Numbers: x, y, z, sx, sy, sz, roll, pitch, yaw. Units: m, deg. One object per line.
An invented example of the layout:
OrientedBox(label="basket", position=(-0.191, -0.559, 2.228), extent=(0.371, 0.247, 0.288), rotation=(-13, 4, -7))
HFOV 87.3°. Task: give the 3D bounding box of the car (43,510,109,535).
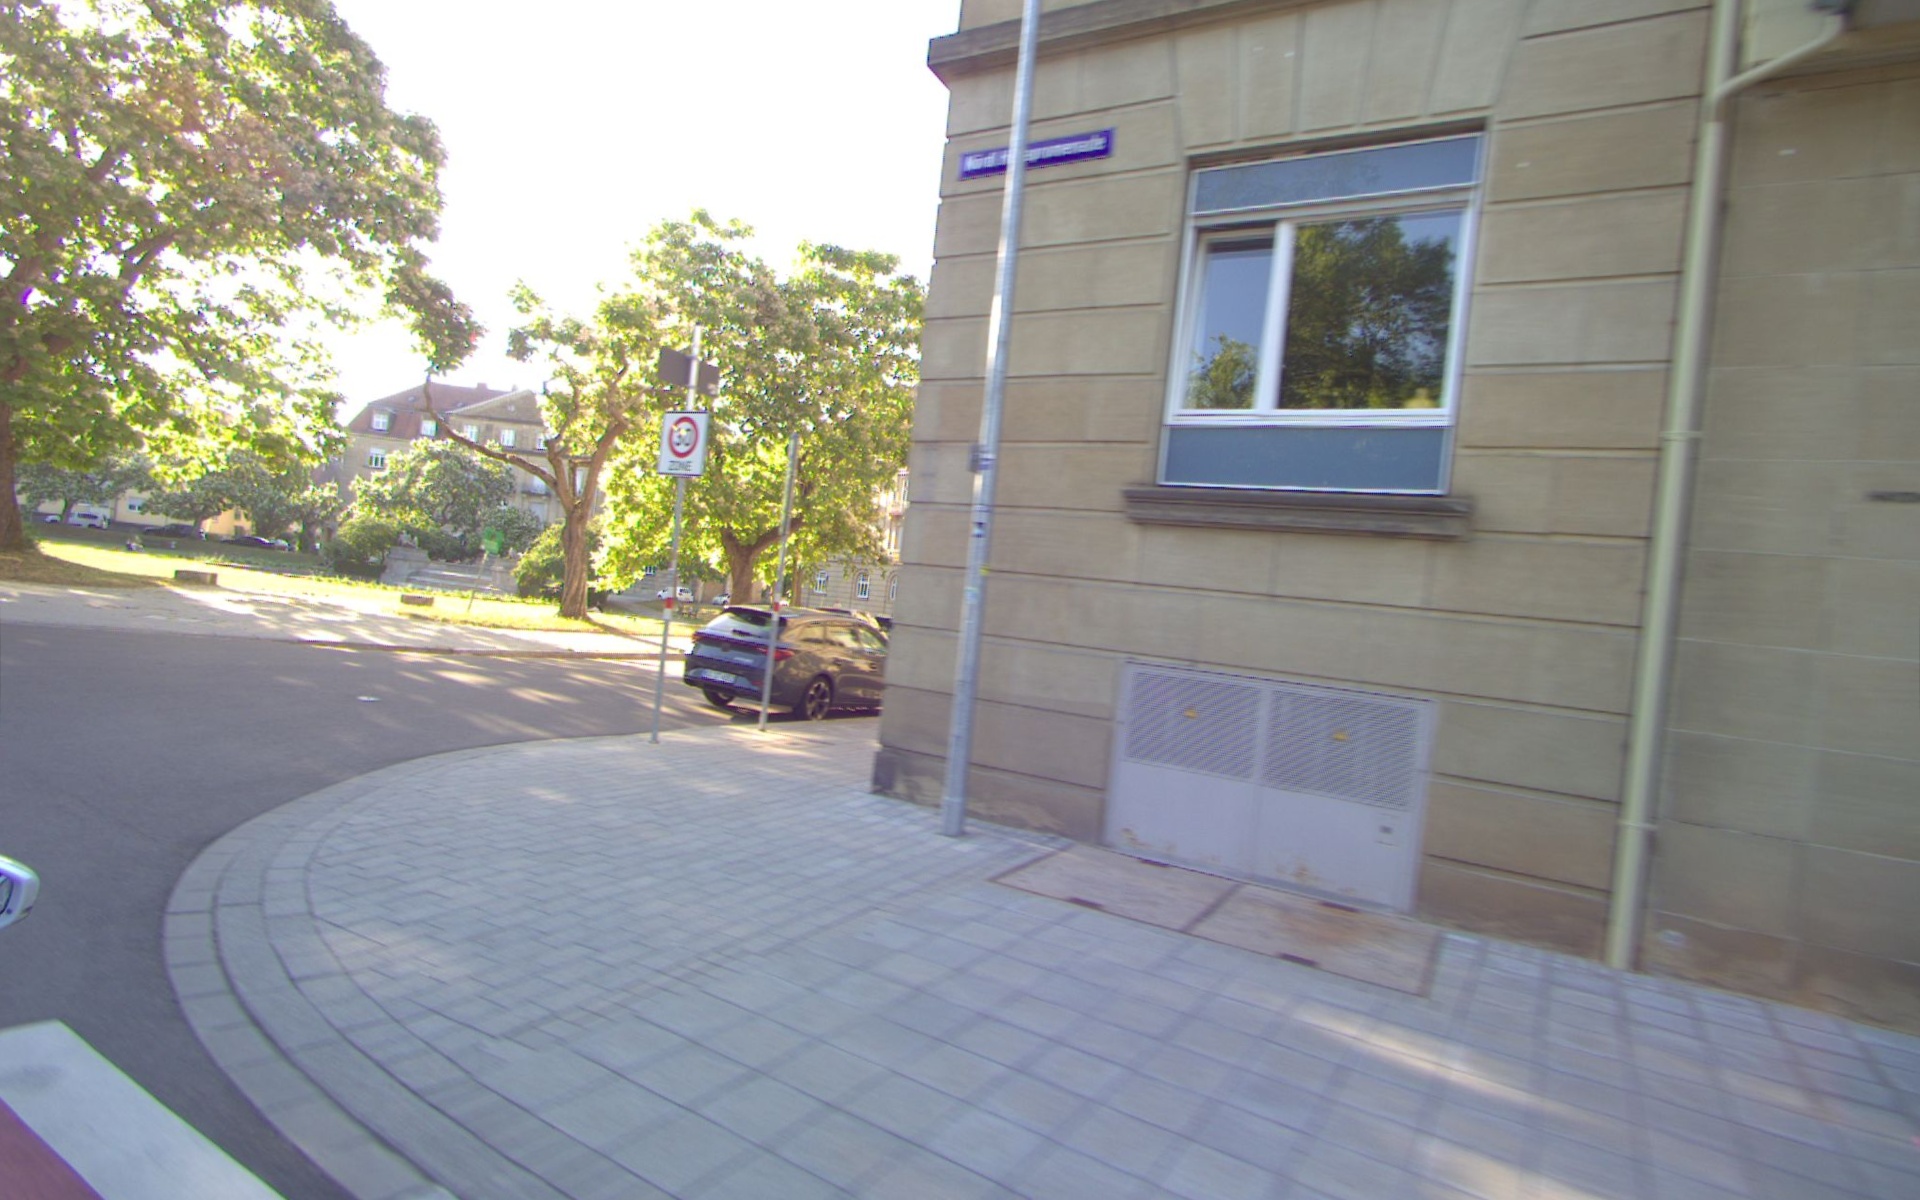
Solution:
OrientedBox(label="car", position=(-88.351, -7.719, 100.602), extent=(4.468, 1.767, 1.870), rotation=(6, -1, -25))

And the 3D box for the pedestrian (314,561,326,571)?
OrientedBox(label="pedestrian", position=(-58.044, -3.123, 91.256), extent=(0.655, 0.804, 0.587), rotation=(6, 0, 19))

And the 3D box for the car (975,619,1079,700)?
OrientedBox(label="car", position=(1.754, 1.433, 24.851), extent=(1.768, 1.619, 4.457), rotation=(6, -1, 13))

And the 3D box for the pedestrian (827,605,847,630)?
OrientedBox(label="pedestrian", position=(-7.880, 1.098, 64.464), extent=(0.935, 1.493, 0.681), rotation=(6, 0, 33))

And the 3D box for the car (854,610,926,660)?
OrientedBox(label="car", position=(-2.333, 1.204, 34.515), extent=(1.537, 1.434, 4.442), rotation=(6, -1, 7))

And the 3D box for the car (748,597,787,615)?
OrientedBox(label="car", position=(-21.340, 0.691, 111.618), extent=(1.789, 1.643, 4.218), rotation=(5, -1, 31))

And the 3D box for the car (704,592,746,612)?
OrientedBox(label="car", position=(-24.815, 0.205, 106.200), extent=(1.789, 1.643, 4.218), rotation=(5, -1, 31))

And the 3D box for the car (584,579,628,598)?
OrientedBox(label="car", position=(-34.062, -1.093, 96.784), extent=(4.028, 1.435, 1.816), rotation=(5, -1, 31))

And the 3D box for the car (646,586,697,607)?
OrientedBox(label="car", position=(-26.100, -0.322, 91.031), extent=(4.876, 1.435, 1.813), rotation=(5, -1, 38))

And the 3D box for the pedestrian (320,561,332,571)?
OrientedBox(label="pedestrian", position=(-57.361, -3.036, 91.004), extent=(0.655, 0.804, 0.587), rotation=(6, 0, 19))

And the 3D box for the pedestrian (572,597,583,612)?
OrientedBox(label="pedestrian", position=(-23.901, 0.269, 62.849), extent=(0.570, 0.891, 0.674), rotation=(7, -1, -22))

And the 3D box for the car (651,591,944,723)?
OrientedBox(label="car", position=(-2.109, 0.823, 14.498), extent=(1.901, 1.436, 4.451), rotation=(5, -1, 25))

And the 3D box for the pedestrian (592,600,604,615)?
OrientedBox(label="pedestrian", position=(-22.732, 0.458, 63.194), extent=(0.570, 0.891, 0.674), rotation=(7, -1, -22))

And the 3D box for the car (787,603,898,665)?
OrientedBox(label="car", position=(-3.241, 0.979, 28.678), extent=(1.810, 1.434, 4.370), rotation=(6, -1, 10))

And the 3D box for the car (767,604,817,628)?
OrientedBox(label="car", position=(-13.085, 1.223, 78.088), extent=(1.802, 1.435, 4.905), rotation=(6, -1, -35))

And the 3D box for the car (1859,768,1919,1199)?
OrientedBox(label="car", position=(3.586, 1.016, 0.525), extent=(4.275, 1.647, 1.704), rotation=(7, 2, 30))

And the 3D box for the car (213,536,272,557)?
OrientedBox(label="car", position=(-71.034, -5.256, 99.601), extent=(4.292, 1.471, 1.878), rotation=(6, -1, -8))
